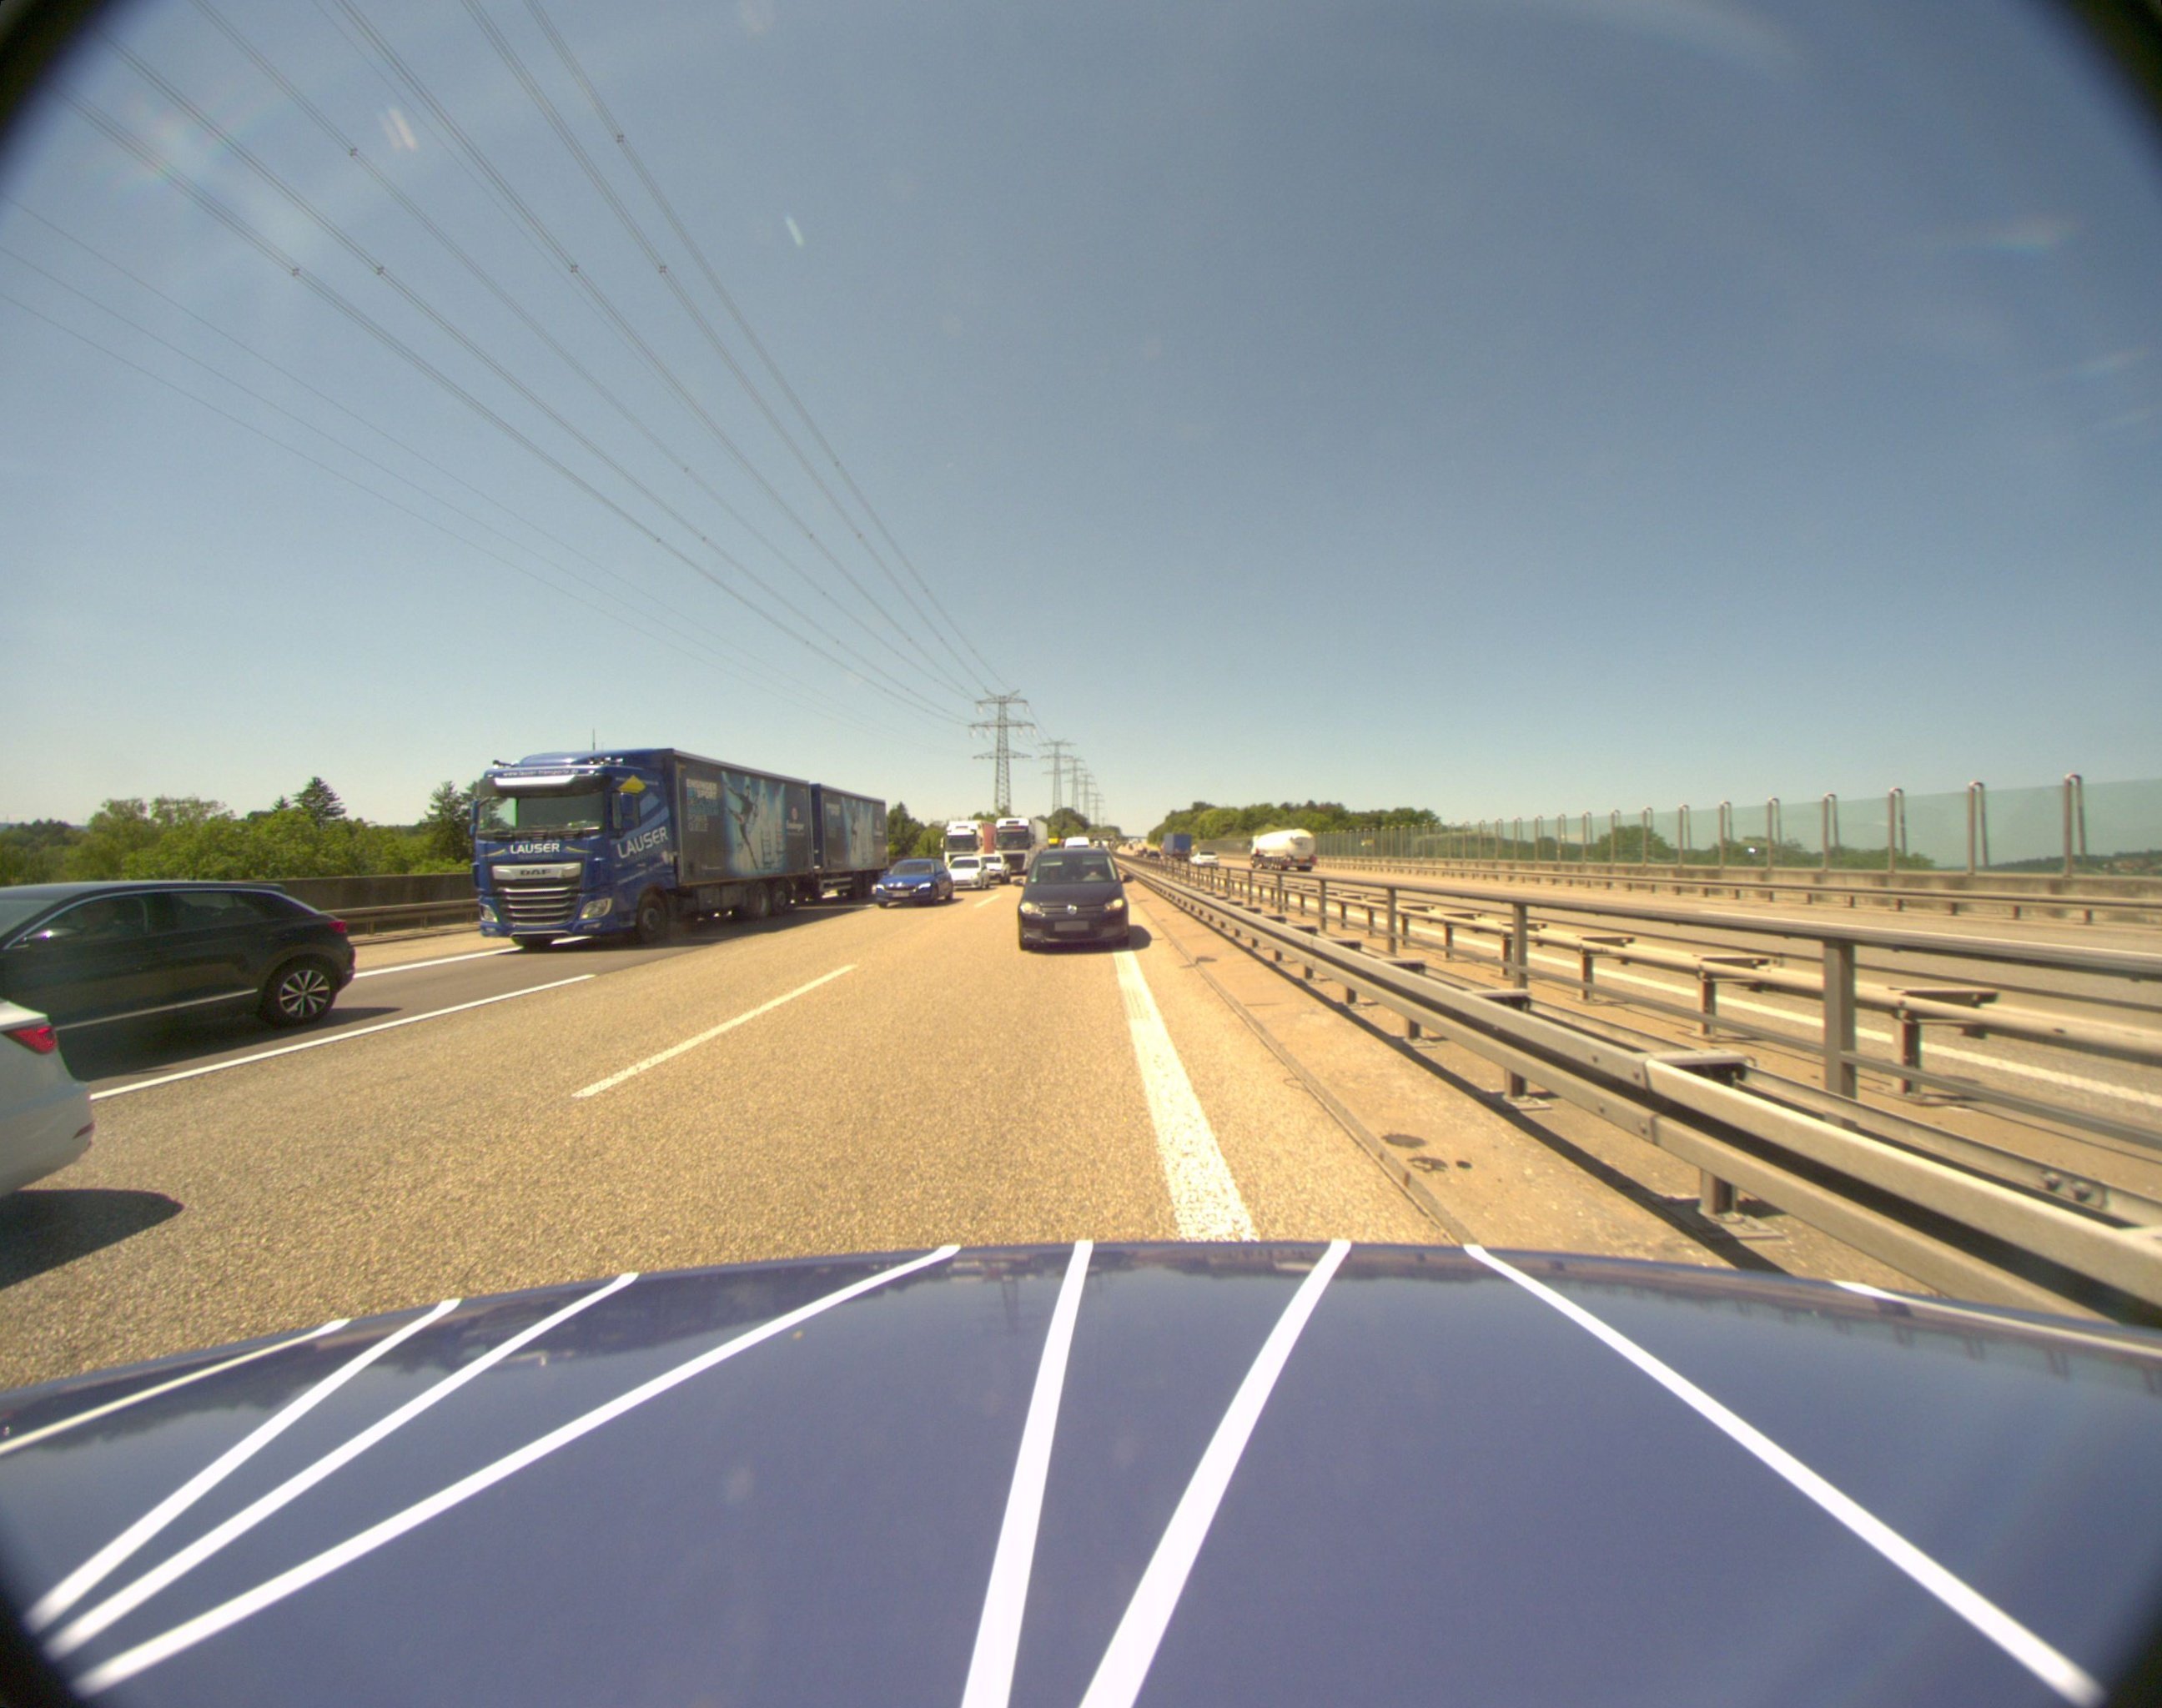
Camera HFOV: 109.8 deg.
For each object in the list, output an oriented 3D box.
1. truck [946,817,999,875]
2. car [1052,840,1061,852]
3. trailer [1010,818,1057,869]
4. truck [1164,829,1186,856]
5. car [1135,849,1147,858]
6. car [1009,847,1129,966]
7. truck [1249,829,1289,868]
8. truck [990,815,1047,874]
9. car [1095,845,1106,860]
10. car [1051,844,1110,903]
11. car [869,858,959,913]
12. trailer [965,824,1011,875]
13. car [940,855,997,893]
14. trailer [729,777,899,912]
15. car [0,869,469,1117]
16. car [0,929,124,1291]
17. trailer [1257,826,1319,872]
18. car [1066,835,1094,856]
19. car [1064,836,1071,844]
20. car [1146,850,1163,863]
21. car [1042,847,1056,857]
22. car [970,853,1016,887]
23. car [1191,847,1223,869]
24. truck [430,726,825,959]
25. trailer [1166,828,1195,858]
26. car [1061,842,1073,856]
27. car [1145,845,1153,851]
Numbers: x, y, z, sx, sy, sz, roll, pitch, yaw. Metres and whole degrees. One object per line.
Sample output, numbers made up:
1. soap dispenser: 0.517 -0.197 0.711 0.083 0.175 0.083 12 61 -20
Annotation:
1. truck: -8.087 -0.650 57.690 2.608 3.965 8.263 -2 1 0
2. car: -5.133 -1.681 161.103 1.704 2.525 3.999 2 1 1
3. trailer: -3.780 -0.863 63.053 2.822 3.830 9.085 -2 1 3
4. truck: 14.332 -1.739 116.275 2.760 4.093 6.264 0 1 1
5. car: 11.915 -0.151 151.054 1.886 1.543 4.188 -2 1 -1
6. car: -0.147 0.766 13.252 1.712 1.669 3.931 -2 1 1
7. truck: 17.624 -0.571 71.615 2.527 3.515 5.329 0 1 1
8. truck: -4.321 -0.721 54.410 2.849 3.804 8.264 -2 1 3
9. car: 3.069 -0.263 118.887 1.704 2.116 3.999 -2 1 1
10. car: 0.005 0.564 24.858 1.712 1.669 3.931 -2 1 1
11. car: -5.241 0.919 24.455 1.712 1.443 4.563 -2 1 2
12. trailer: -7.987 -0.427 66.368 2.608 4.094 9.083 -2 1 0
13. car: -4.885 0.830 33.558 1.712 1.443 4.144 -2 1 2
14. trailer: -9.314 -0.360 27.876 2.835 4.066 8.637 -2 1 1
15. car: -8.670 1.085 7.536 1.712 1.645 4.117 -2 1 2
16. car: -5.318 1.105 1.286 1.713 1.443 4.429 -2 0 0
17. trailer: 17.480 -0.486 64.954 2.505 3.520 10.902 0 1 1
18. car: -0.056 -0.645 57.880 1.924 1.501 3.996 -2 1 2
19. car: -3.380 -3.478 188.940 1.704 2.116 3.999 2 1 1
20. car: 10.164 0.324 105.147 1.886 1.543 4.188 -2 1 -1
21. car: -5.250 -0.270 125.058 1.924 1.501 3.996 -2 1 2
22. car: -4.412 0.779 38.792 1.712 1.501 4.144 -2 1 2
23. car: 10.049 0.310 60.953 1.811 1.630 3.999 1 1 0
24. truck: -9.575 -0.275 18.313 2.859 3.927 10.393 -2 1 2
25. trailer: 14.361 -1.659 110.729 2.711 4.142 12.047 0 1 0
26. car: -2.255 -0.787 120.242 1.704 2.116 3.999 2 1 1
27. car: 17.784 -1.557 199.861 1.802 1.490 3.851 0 1 1
